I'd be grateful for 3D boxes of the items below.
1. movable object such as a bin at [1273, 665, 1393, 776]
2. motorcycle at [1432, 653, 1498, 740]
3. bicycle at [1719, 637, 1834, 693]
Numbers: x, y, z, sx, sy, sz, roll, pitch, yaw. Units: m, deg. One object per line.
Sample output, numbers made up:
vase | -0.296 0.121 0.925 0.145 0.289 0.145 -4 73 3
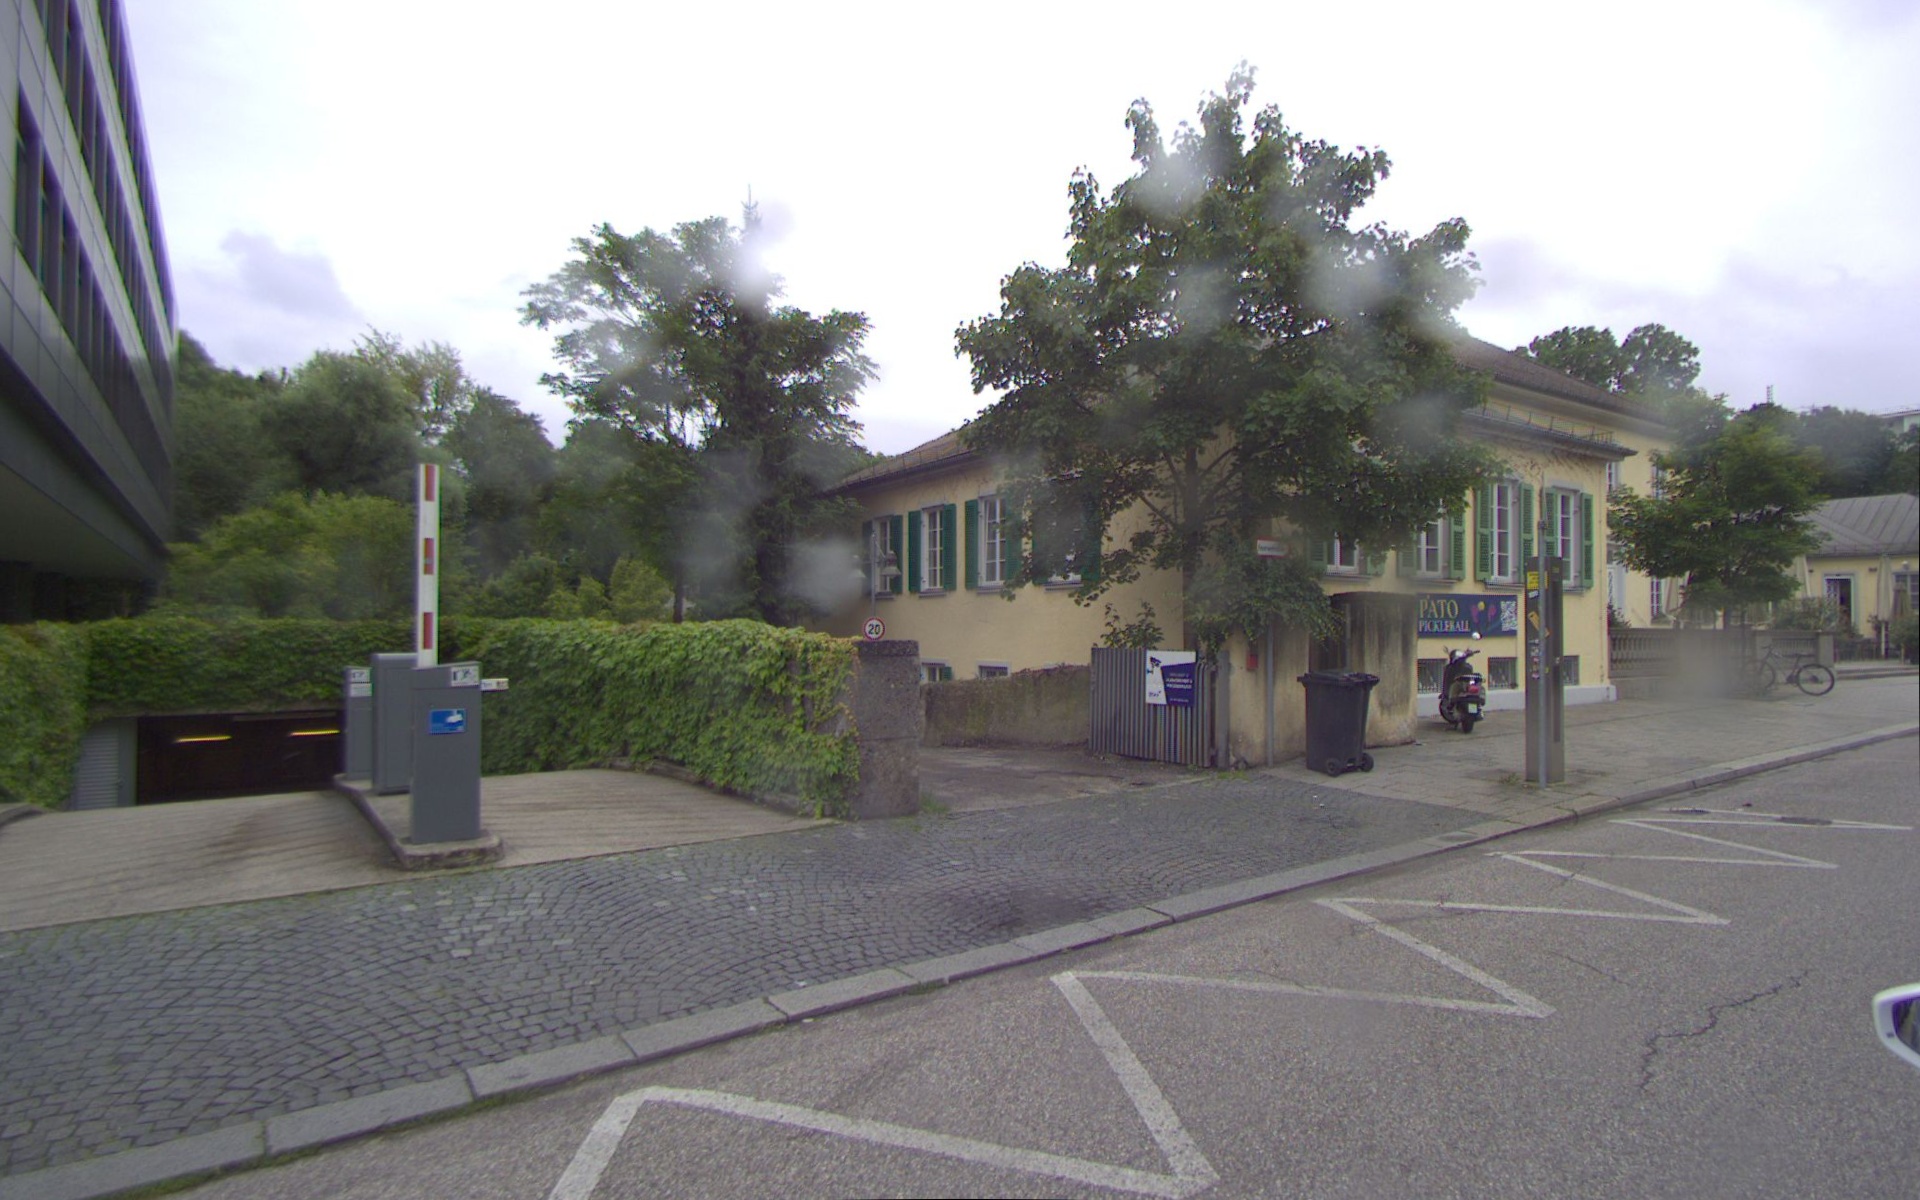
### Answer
movable object such as a bin | 4.043 1.276 10.906 0.833 1.078 0.928 0 -1 -39
motorcycle | 7.410 1.382 14.803 0.547 1.116 1.839 1 0 17
bicycle | 18.545 1.452 22.850 0.608 1.114 1.919 1 1 -33
